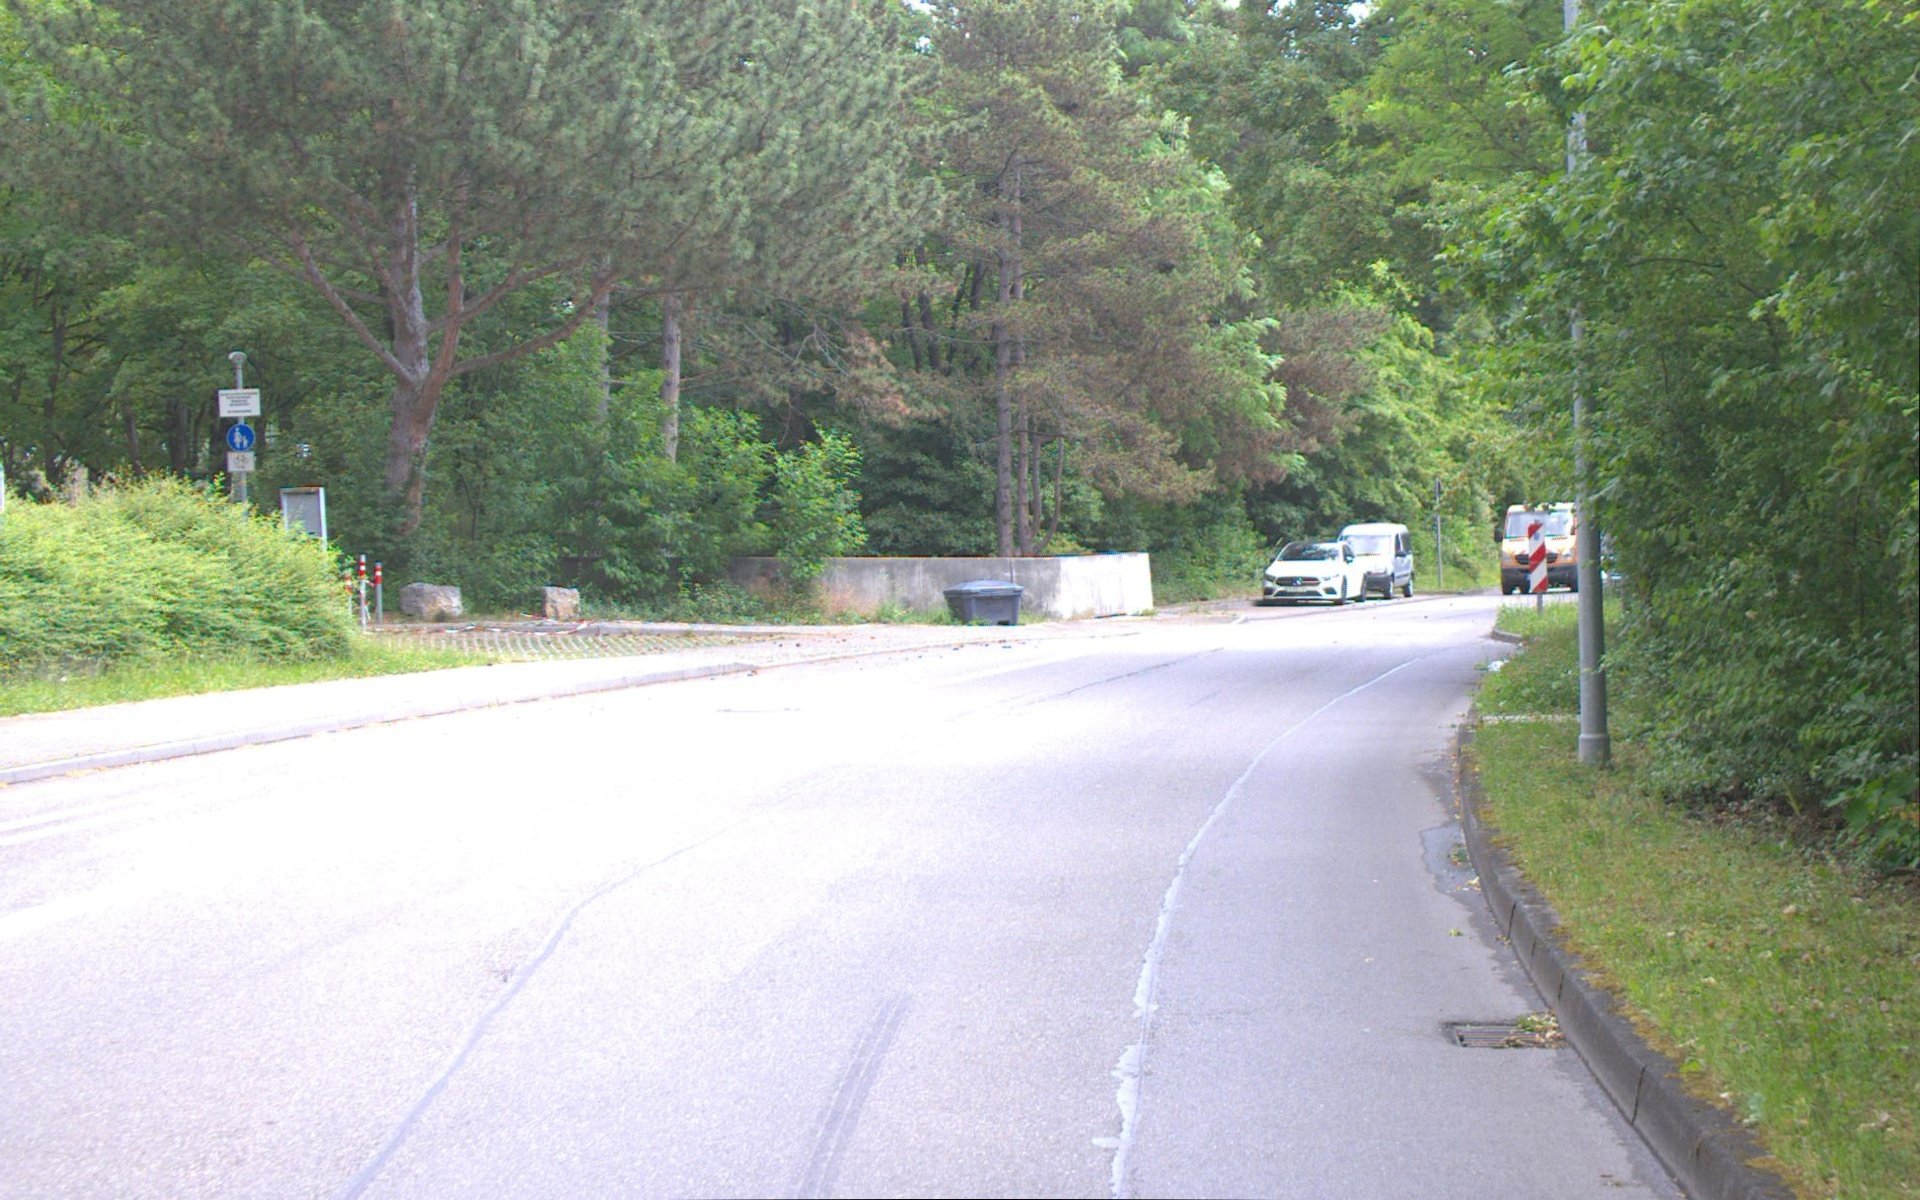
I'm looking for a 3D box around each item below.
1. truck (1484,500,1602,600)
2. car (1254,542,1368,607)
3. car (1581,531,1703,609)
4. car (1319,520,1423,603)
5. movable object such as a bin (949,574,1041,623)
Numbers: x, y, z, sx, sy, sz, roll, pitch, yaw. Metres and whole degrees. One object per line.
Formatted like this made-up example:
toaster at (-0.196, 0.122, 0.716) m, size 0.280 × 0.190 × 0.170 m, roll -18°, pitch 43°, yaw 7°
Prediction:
truck at (14.944, -1.313, 87.912) m, size 2.324 × 2.461 × 6.016 m, roll 1°, pitch 2°, yaw 16°
car at (7.911, -0.591, 77.118) m, size 1.807 × 1.398 × 4.369 m, roll 0°, pitch 1°, yaw 16°
car at (13.216, -0.602, 66.475) m, size 1.794 × 1.406 × 4.056 m, roll -2°, pitch 0°, yaw 18°
car at (10.012, -0.956, 83.598) m, size 1.722 × 1.915 × 4.101 m, roll 1°, pitch 2°, yaw 18°
movable object such as a bin at (0.543, -0.025, 54.302) m, size 1.143 × 0.758 × 1.049 m, roll 1°, pitch 0°, yaw -21°
